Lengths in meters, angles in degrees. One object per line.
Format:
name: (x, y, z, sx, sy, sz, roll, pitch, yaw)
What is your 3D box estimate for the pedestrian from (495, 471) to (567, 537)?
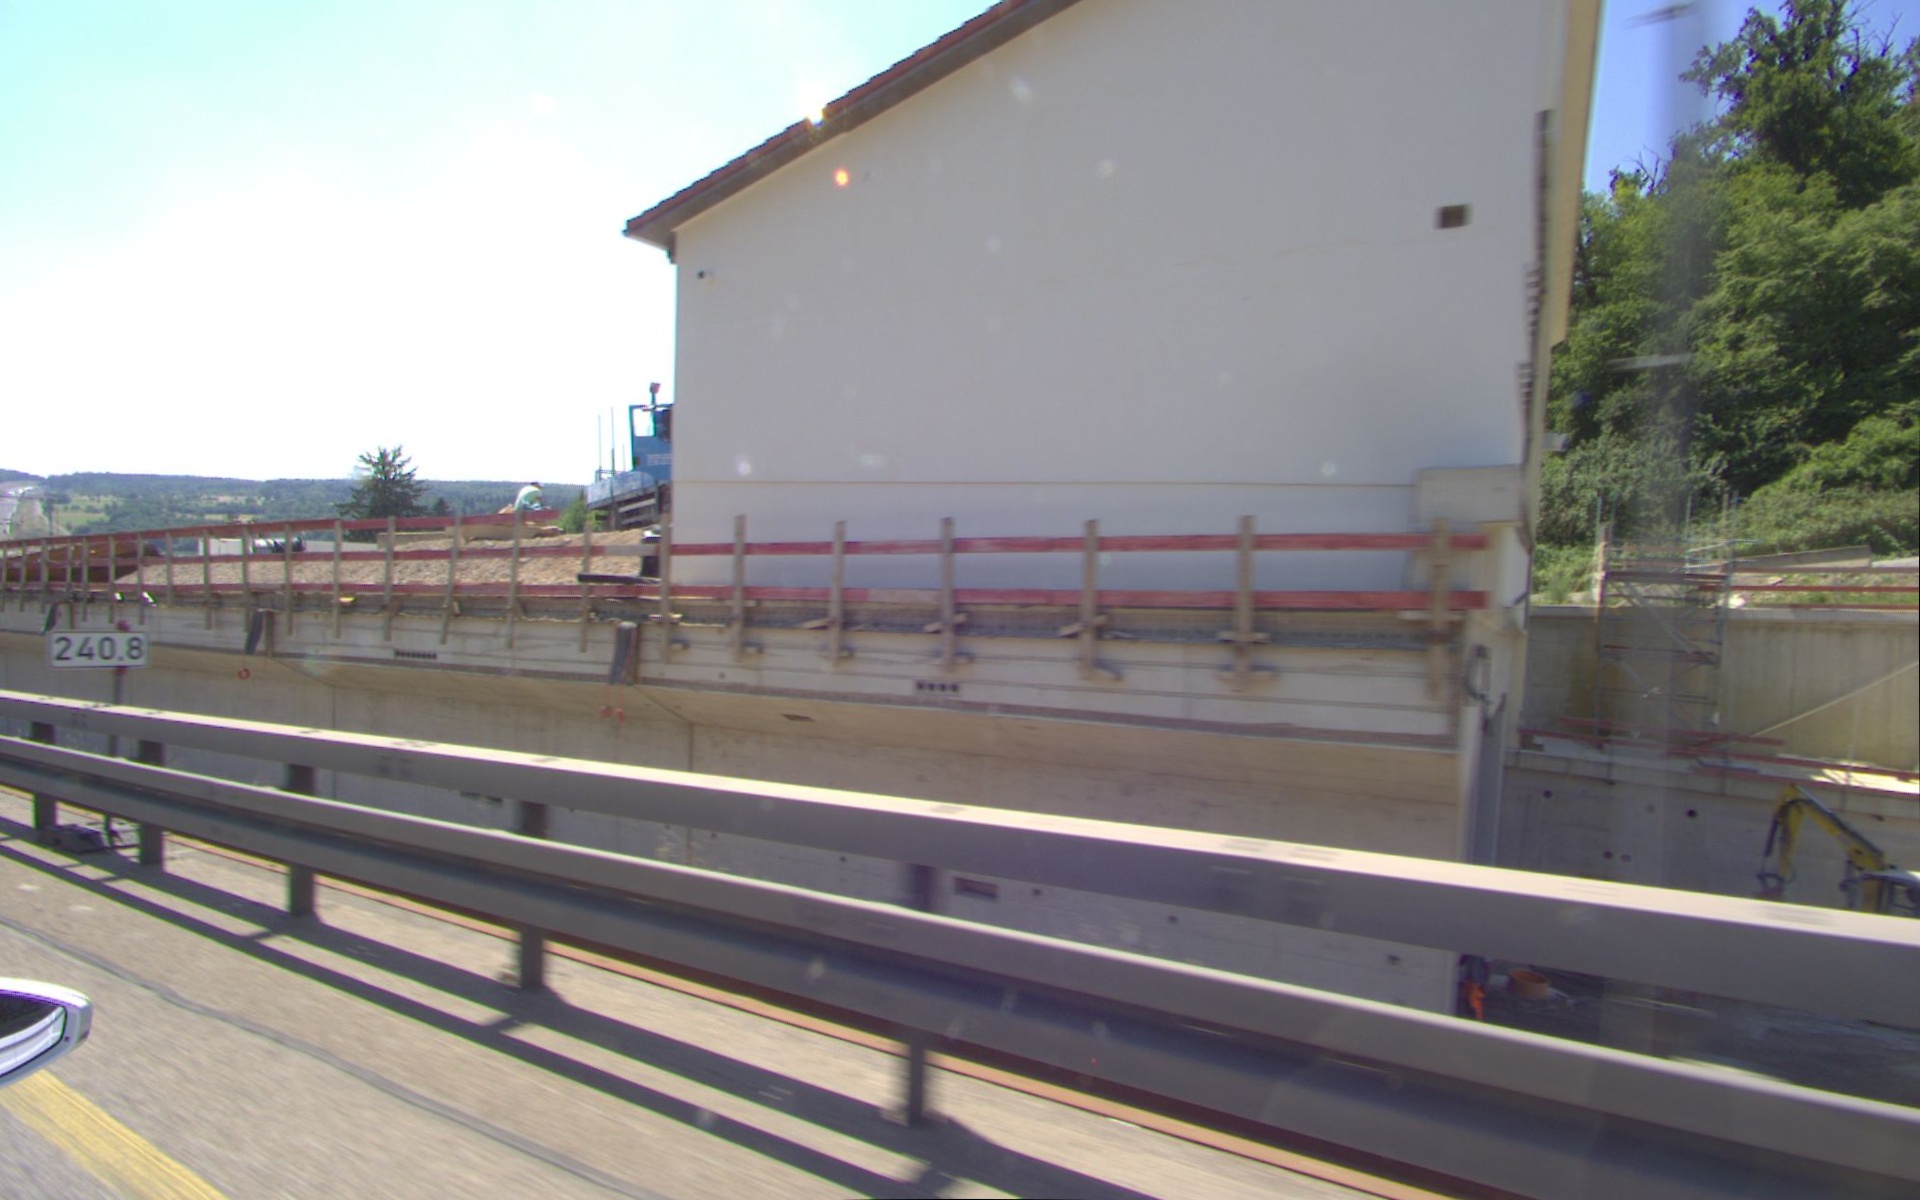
pedestrian: (-8.727, -1.932, 20.373, 0.982, 1.165, 1.016, -1, -2, 39)

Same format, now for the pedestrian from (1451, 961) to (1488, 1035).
pedestrian: (8.535, 6.660, 16.765, 0.544, 1.031, 0.338, -1, -1, 29)

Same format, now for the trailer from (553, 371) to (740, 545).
trailer: (-9.087, -3.594, 28.123, 2.683, 3.744, 8.936, 1, 1, -33)

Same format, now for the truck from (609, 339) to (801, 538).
truck: (-6.179, -3.495, 23.638, 2.684, 3.744, 5.673, 1, 1, -33)

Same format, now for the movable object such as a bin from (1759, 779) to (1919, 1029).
movable object such as a bin: (16.971, 5.585, 18.772, 2.785, 3.869, 2.321, 1, -1, 32)
